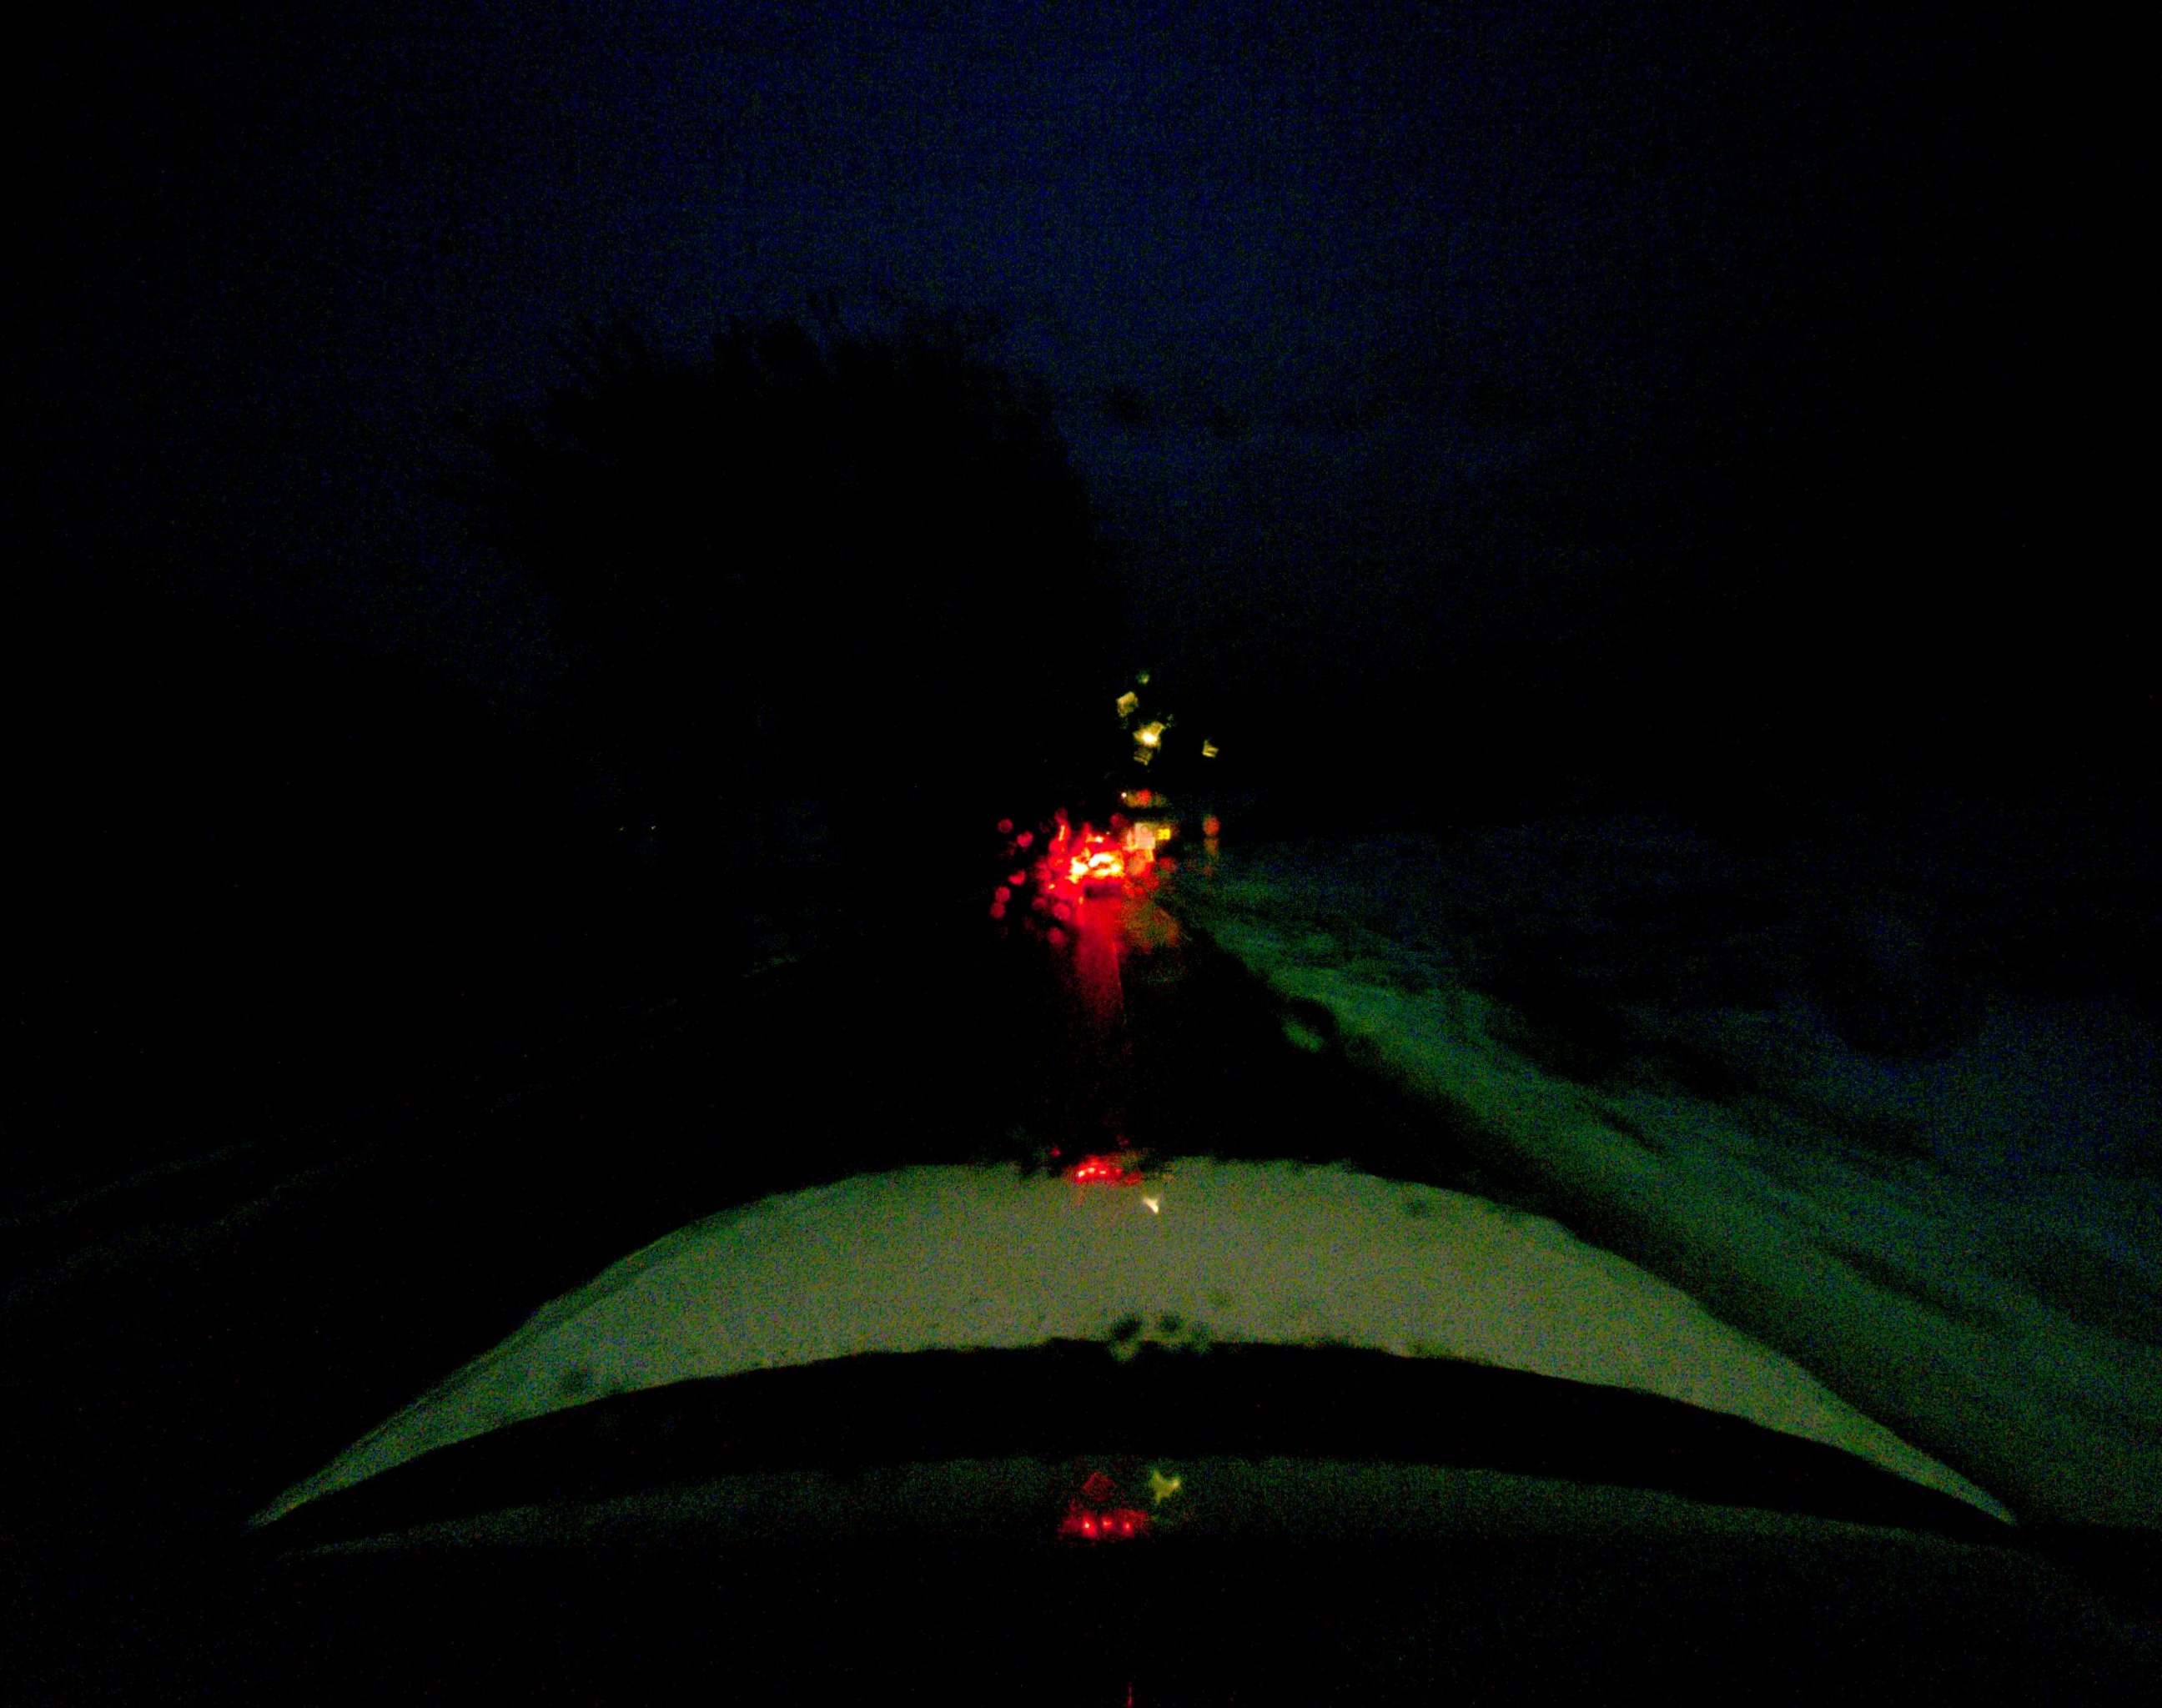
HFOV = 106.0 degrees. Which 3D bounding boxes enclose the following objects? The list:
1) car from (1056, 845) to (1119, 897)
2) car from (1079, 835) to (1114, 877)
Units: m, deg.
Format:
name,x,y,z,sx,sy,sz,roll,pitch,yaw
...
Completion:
name,x,y,z,sx,sy,sz,roll,pitch,yaw
car,0.277,0.643,32.546,2.266,1.841,5.007,-2,-1,1
car,1.297,0.221,64.671,2.425,3.019,5.329,-3,-2,4
